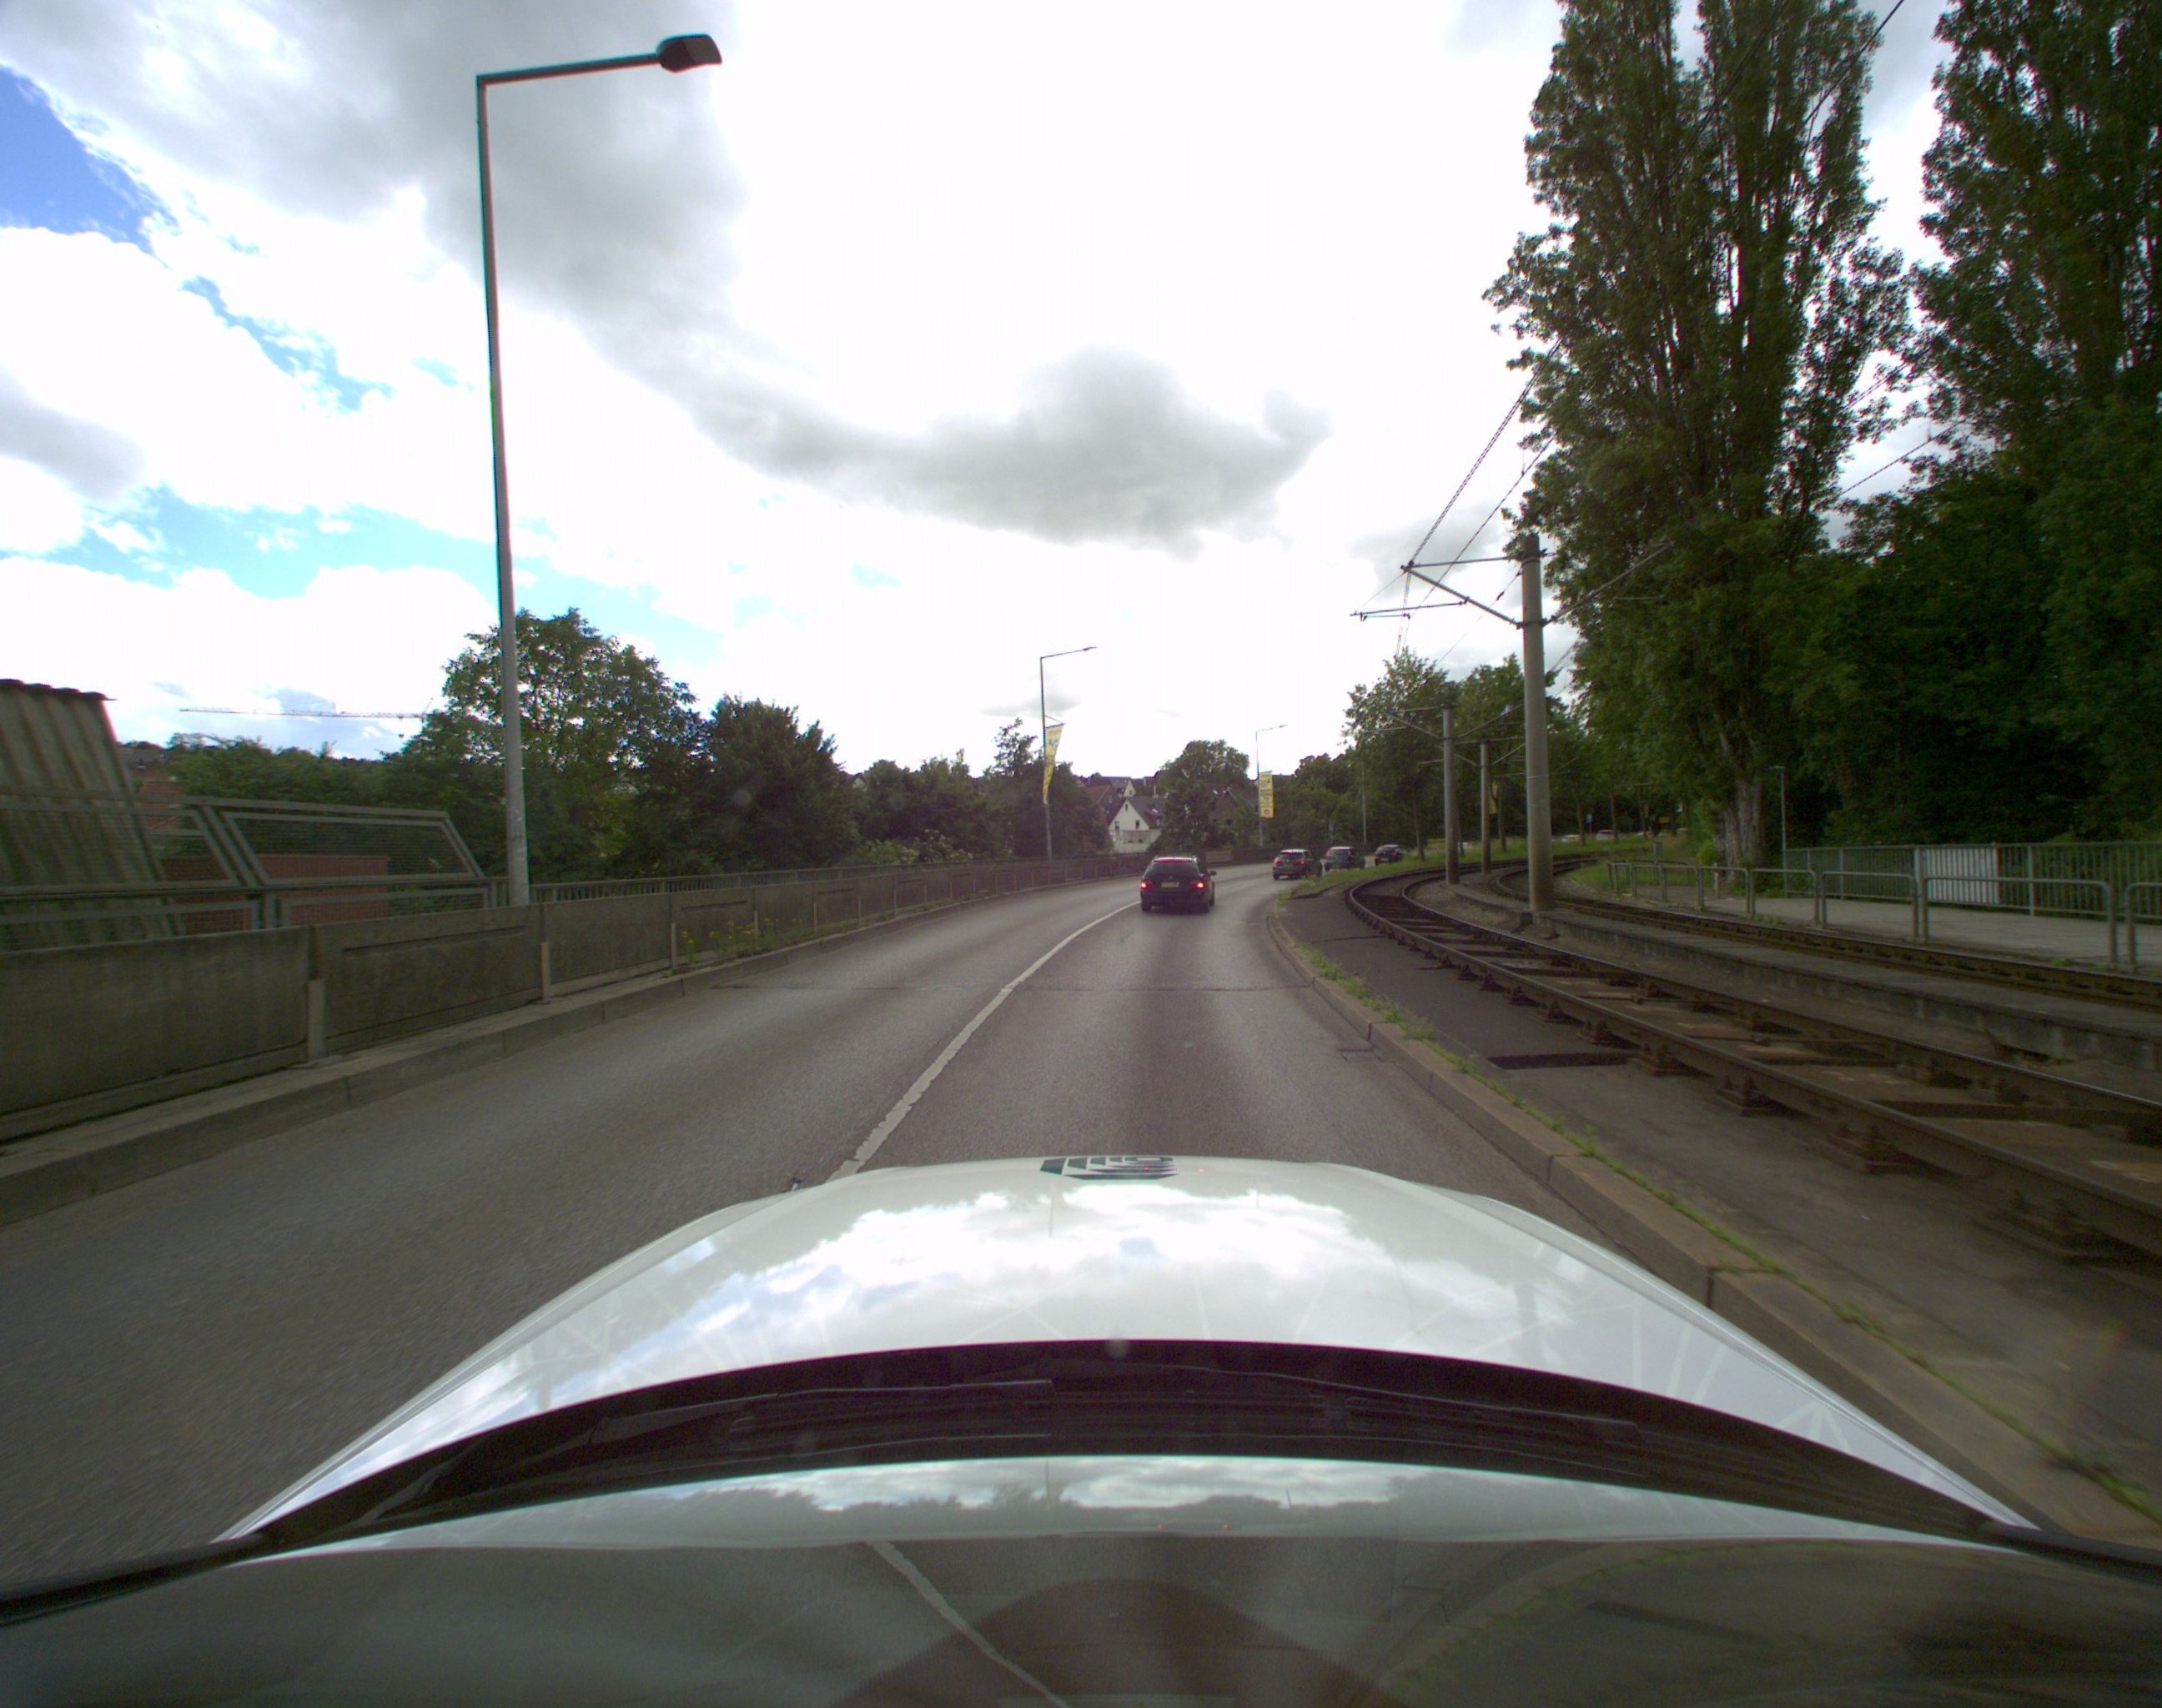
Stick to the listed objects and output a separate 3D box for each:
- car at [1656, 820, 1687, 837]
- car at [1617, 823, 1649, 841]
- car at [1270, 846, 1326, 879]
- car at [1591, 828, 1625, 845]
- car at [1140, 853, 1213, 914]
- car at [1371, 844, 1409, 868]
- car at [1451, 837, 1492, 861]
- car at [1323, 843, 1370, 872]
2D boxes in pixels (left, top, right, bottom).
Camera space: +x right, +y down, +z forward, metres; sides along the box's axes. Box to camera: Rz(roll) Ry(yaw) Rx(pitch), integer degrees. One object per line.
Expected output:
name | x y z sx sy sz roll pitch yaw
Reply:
car | 72.591 -3.178 100.053 4.020 1.767 1.977 -5 1 -38
car | 64.673 -2.594 95.384 4.150 1.868 1.783 -5 1 -38
car | 11.360 0.420 42.401 1.753 1.555 4.267 -2 0 30
car | 57.236 -1.946 88.411 4.020 1.552 1.802 -5 1 -38
car | 2.785 0.754 23.003 1.748 1.515 4.455 1 0 10
car | 21.581 0.137 56.800 1.753 1.555 4.267 -2 0 31
car | 32.188 -0.442 67.071 4.012 1.711 1.781 -5 1 -45
car | 16.192 0.195 49.561 1.775 1.555 4.413 -3 0 30
